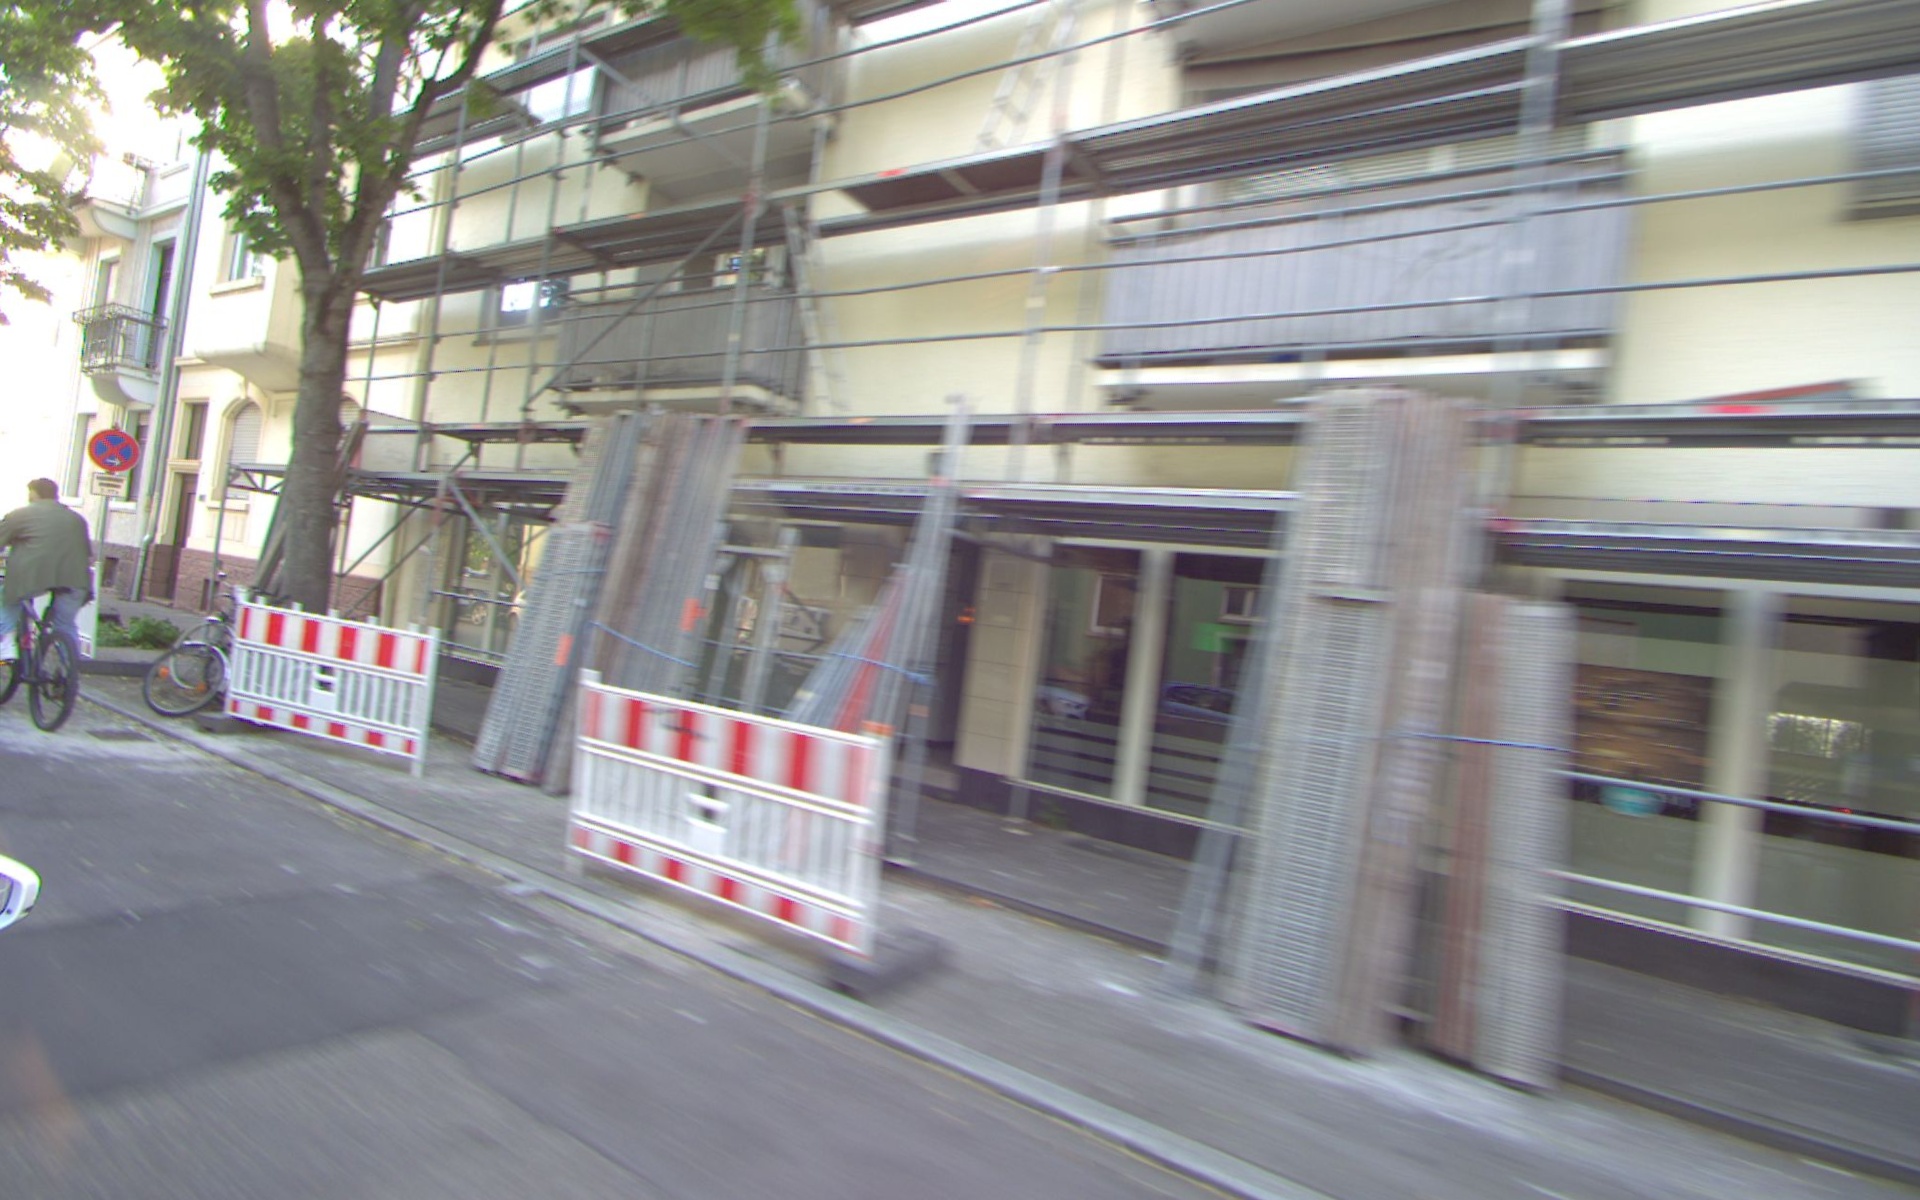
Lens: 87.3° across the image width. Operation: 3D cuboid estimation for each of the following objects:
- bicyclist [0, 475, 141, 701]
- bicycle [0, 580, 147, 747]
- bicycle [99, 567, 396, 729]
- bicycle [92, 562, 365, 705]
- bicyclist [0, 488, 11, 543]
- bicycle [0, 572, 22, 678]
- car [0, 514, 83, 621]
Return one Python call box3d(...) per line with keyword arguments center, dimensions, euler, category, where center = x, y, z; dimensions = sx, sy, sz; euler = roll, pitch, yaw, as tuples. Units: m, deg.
box3d(center=(-7.084, -0.100, 7.689), dimensions=(0.964, 1.582, 0.758), euler=(7, -3, 27), category="bicyclist")
box3d(center=(-7.154, 0.435, 7.653), dimensions=(1.826, 1.071, 0.741), euler=(6, -3, 28), category="bicycle")
box3d(center=(-6.144, 0.429, 8.839), dimensions=(1.907, 1.134, 0.743), euler=(9, -2, -27), category="bicycle")
box3d(center=(-7.143, 0.364, 9.912), dimensions=(0.738, 1.134, 1.974), euler=(6, -3, 44), category="bicycle")
box3d(center=(-8.964, -0.219, 8.593), dimensions=(0.964, 1.706, 0.718), euler=(7, -4, 25), category="bicyclist")
box3d(center=(-8.984, 0.169, 8.583), dimensions=(1.825, 1.055, 0.709), euler=(7, -5, 27), category="bicycle")
box3d(center=(-15.509, -0.674, 15.634), dimensions=(4.359, 1.439, 1.682), euler=(6, -1, 34), category="car")
